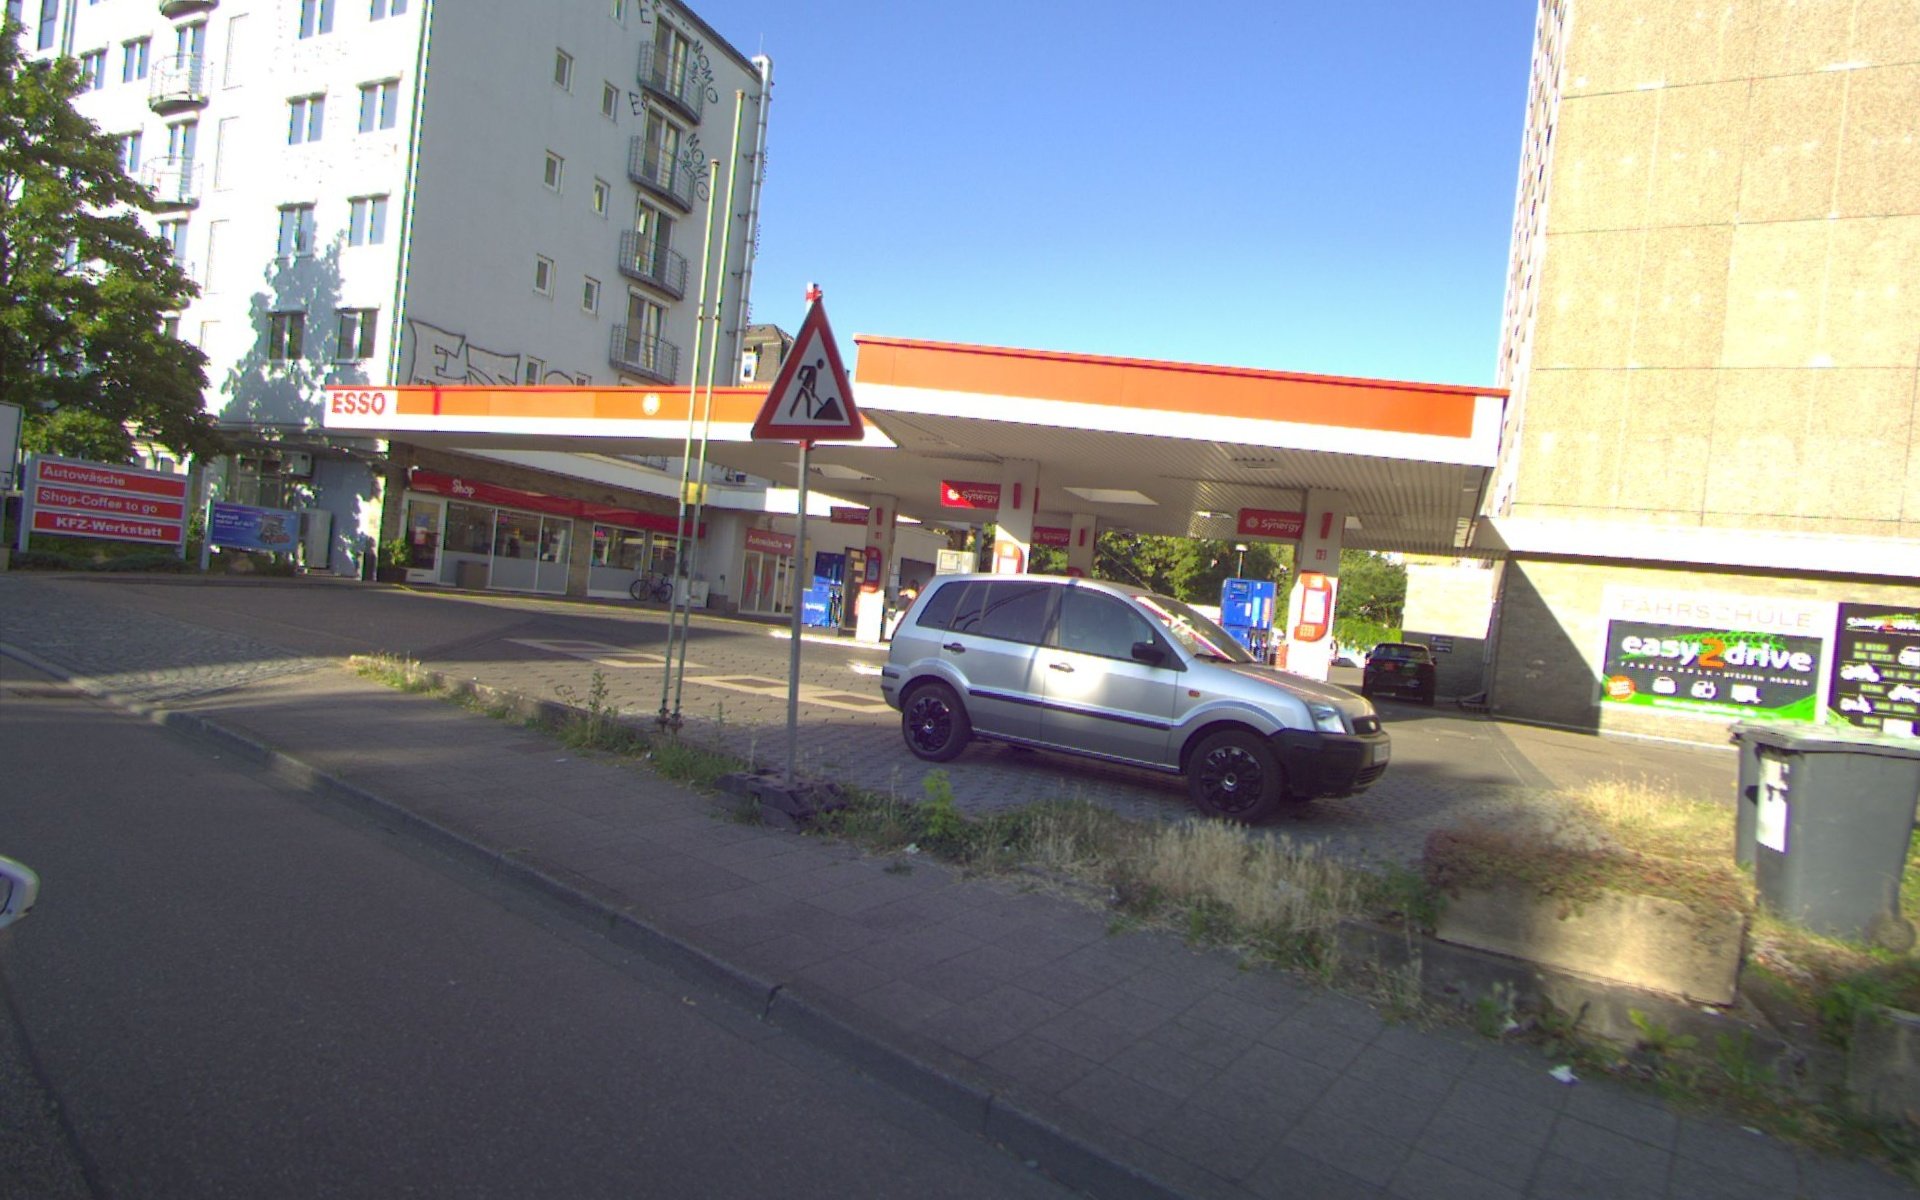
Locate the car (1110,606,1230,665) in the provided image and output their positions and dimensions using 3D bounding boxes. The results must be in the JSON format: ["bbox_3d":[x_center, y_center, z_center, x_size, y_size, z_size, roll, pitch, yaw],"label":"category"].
[{"bbox_3d":[8.444,1.429,40.442,4.220,1.867,1.997,6,0,27],"label":"car"}]

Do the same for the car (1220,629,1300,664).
[{"bbox_3d":[16.870,2.608,56.624,3.930,1.519,1.827,6,0,27],"label":"car"}]

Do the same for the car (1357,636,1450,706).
[{"bbox_3d":[11.859,1.856,26.746,1.965,1.467,3.995,7,0,26],"label":"car"}]

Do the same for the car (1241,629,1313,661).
[{"bbox_3d":[19.867,2.839,63.013,3.930,1.519,1.827,6,0,27],"label":"car"}]

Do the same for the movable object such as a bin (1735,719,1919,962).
[{"bbox_3d":[4.506,1.190,5.177,0.663,1.042,0.572,7,1,32],"label":"movable object such as a bin"}]

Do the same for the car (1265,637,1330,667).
[{"bbox_3d":[21.746,3.364,64.863,3.618,1.482,1.655,6,0,30],"label":"car"}]

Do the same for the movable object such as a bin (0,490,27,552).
[{"bbox_3d":[-23.927,-2.004,24.612,1.258,1.452,1.308,8,3,33],"label":"movable object such as a bin"}]

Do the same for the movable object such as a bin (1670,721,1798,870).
[{"bbox_3d":[5.505,1.362,7.158,0.484,0.919,0.578,5,1,-43],"label":"movable object such as a bin"}]

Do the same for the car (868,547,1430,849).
[{"bbox_3d":[1.333,0.581,7.793,3.833,1.614,1.619,6,0,35],"label":"car"}]

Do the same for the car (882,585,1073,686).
[{"bbox_3d":[0.354,0.631,18.507,3.240,1.457,1.590,6,1,4],"label":"car"}]

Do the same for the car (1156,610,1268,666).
[{"bbox_3d":[10.875,1.633,43.439,4.220,1.867,1.997,6,0,27],"label":"car"}]

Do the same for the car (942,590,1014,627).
[{"bbox_3d":[1.100,0.515,62.681,3.930,1.792,1.808,6,0,27],"label":"car"}]

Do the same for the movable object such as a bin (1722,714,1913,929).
[{"bbox_3d":[4.901,1.231,5.795,0.663,1.042,0.572,7,1,32],"label":"movable object such as a bin"}]

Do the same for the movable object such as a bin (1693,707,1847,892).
[{"bbox_3d":[5.201,1.256,6.467,0.518,1.042,0.579,5,1,-37],"label":"movable object such as a bin"}]

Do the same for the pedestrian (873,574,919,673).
[{"bbox_3d":[-1.103,0.405,17.467,0.557,1.642,0.534,6,1,5],"label":"pedestrian"}]

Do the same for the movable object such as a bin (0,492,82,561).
[{"bbox_3d":[-21.858,-1.727,23.601,0.850,1.428,1.611,6,0,27],"label":"movable object such as a bin"}]

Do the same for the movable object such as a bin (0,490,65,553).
[{"bbox_3d":[-23.762,-2.006,25.525,1.257,1.440,1.195,8,3,31],"label":"movable object such as a bin"}]

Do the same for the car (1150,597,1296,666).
[{"bbox_3d":[12.400,1.470,47.494,6.191,2.533,1.998,6,1,25],"label":"car"}]

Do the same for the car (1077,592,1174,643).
[{"bbox_3d":[10.175,1.085,61.907,5.389,2.525,1.693,6,1,27],"label":"car"}]

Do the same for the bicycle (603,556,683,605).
[{"bbox_3d":[-10.078,-0.586,32.128,0.518,1.331,2.809,7,0,26],"label":"bicycle"}]
